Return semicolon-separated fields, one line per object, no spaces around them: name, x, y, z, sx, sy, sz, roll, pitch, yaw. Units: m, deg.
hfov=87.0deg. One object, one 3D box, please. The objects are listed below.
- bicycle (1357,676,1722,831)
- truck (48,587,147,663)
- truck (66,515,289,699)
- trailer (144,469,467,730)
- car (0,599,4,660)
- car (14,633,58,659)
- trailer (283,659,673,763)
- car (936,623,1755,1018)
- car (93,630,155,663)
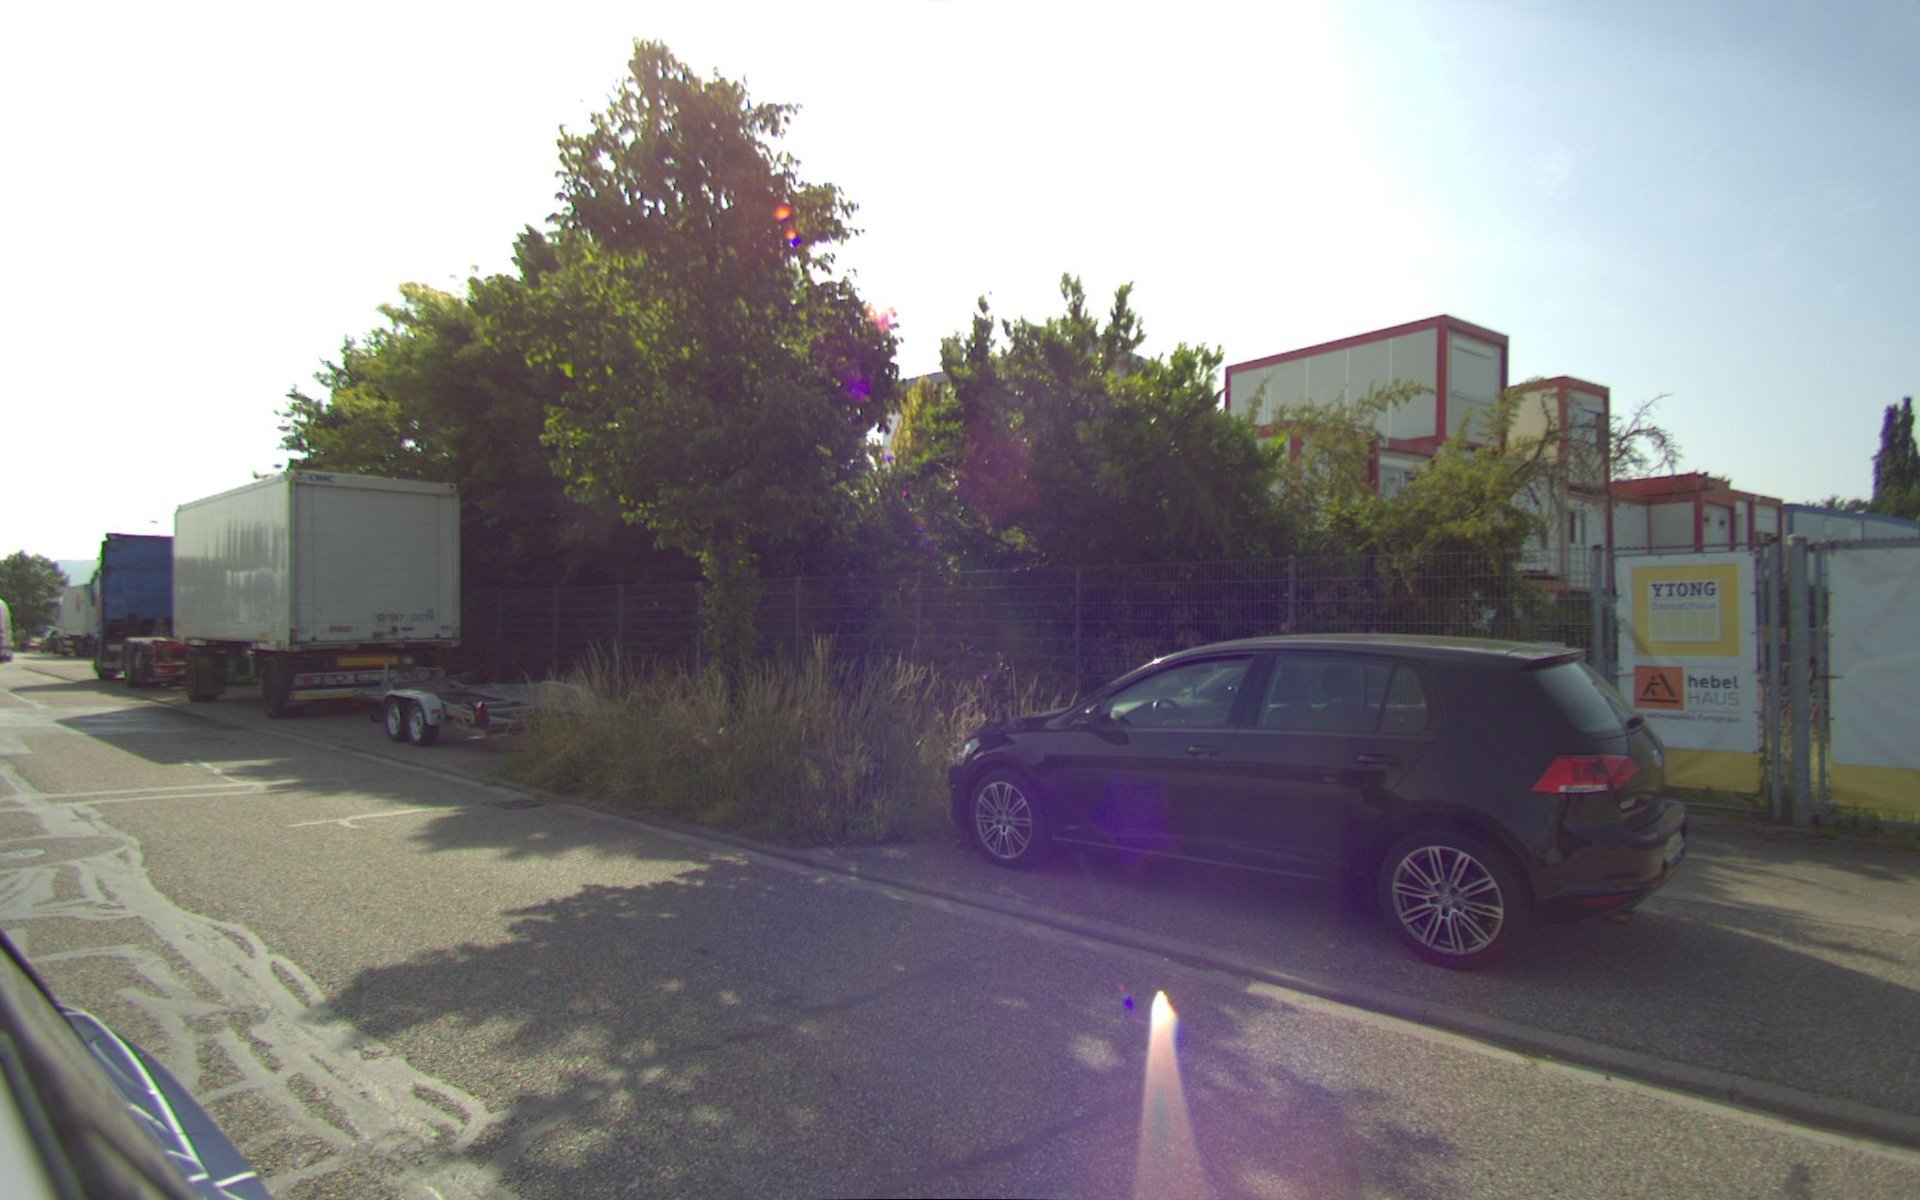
bicycle;4.500;1.142;8.052;2.451;0.980;0.556;-1;-3;41
truck;-48.137;1.432;56.342;10.059;3.883;2.747;-1;-4;42
truck;-20.124;0.220;25.729;9.631;3.914;2.685;-1;-1;41
trailer;-12.893;0.073;19.391;9.761;3.914;2.671;-1;-1;41
car;-40.229;1.285;40.679;6.988;2.566;1.972;-2;-4;42
car;-60.150;2.952;65.875;3.965;1.594;1.712;-2;-1;42
trailer;-6.897;1.381;14.060;6.240;0.993;2.621;-1;-3;41
car;1.900;0.889;5.838;4.093;1.481;1.669;-1;-3;43
car;-42.287;2.325;51.177;4.190;1.604;1.745;-2;-1;41
